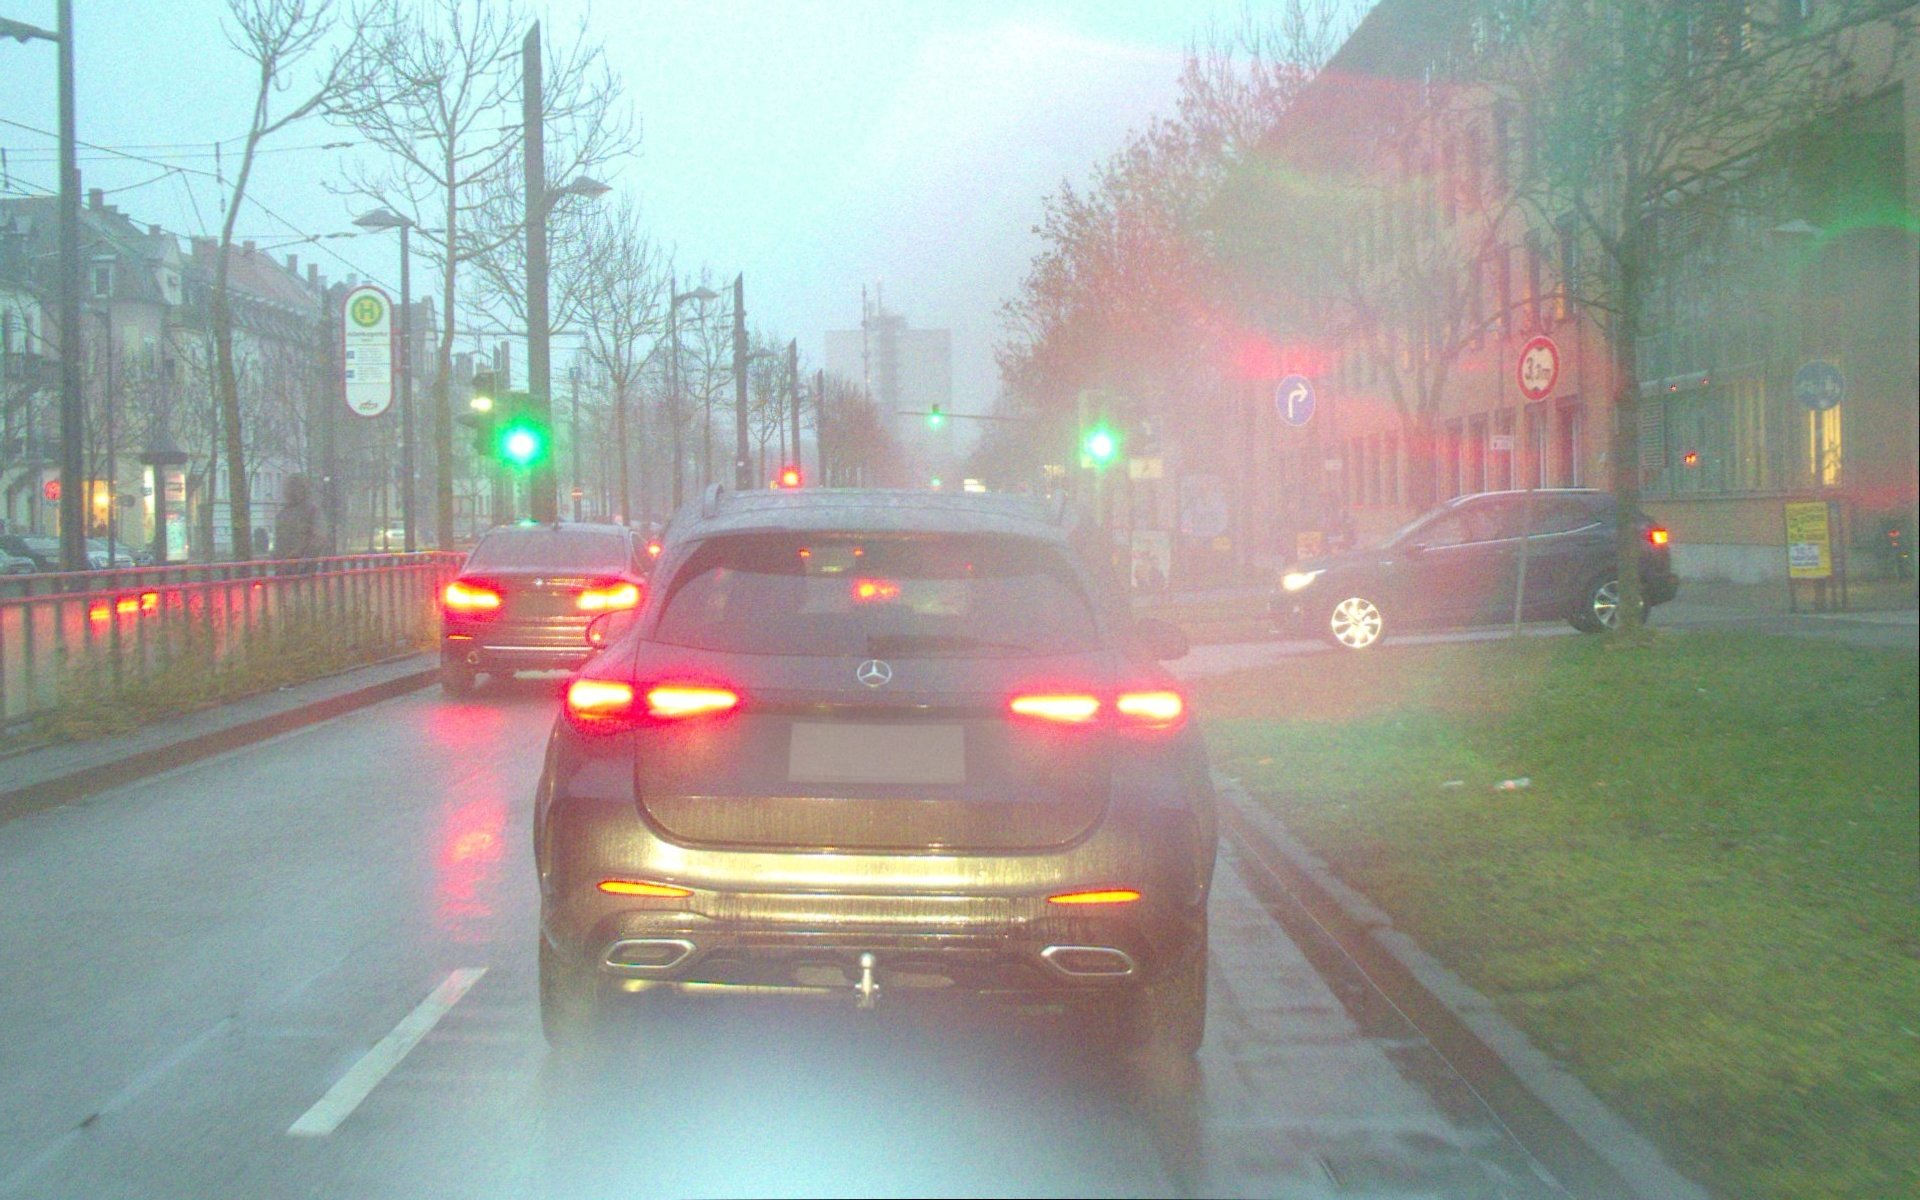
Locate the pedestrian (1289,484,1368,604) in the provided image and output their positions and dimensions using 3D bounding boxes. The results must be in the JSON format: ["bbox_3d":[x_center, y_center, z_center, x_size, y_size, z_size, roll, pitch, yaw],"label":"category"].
[{"bbox_3d":[4.970,-0.758,46.358,0.903,1.590,0.501,-1,2,42],"label":"pedestrian"}]

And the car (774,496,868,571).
[{"bbox_3d":[-3.153,-1.539,78.417,1.993,1.612,4.001,-2,2,-1],"label":"car"}]

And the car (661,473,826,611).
[{"bbox_3d":[-2.918,-0.821,47.080,1.993,1.759,4.000,-2,2,0],"label":"car"}]

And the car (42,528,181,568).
[{"bbox_3d":[-28.215,-1.736,114.389,3.988,1.222,2.000,-1,1,7],"label":"car"}]

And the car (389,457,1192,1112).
[{"bbox_3d":[-0.418,0.412,10.701,1.991,1.610,4.000,-1,2,0],"label":"car"}]

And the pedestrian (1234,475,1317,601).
[{"bbox_3d":[4.050,-0.792,44.122,0.903,1.590,0.501,-1,2,42],"label":"pedestrian"}]

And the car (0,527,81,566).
[{"bbox_3d":[-29.780,-1.654,108.142,3.774,1.152,1.649,-2,2,5],"label":"car"}]

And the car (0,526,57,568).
[{"bbox_3d":[-28.761,-1.523,101.329,3.774,1.152,1.649,-2,2,5],"label":"car"}]

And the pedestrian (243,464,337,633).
[{"bbox_3d":[-6.270,-0.486,32.193,0.699,1.547,0.669,-2,1,0],"label":"pedestrian"}]

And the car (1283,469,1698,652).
[{"bbox_3d":[5.305,-0.417,34.750,3.860,1.555,1.765,-4,2,1],"label":"car"}]

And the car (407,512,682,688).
[{"bbox_3d":[-3.597,-0.051,30.415,1.993,1.393,4.001,-2,2,-1],"label":"car"}]

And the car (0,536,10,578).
[{"bbox_3d":[-28.468,-1.130,95.207,3.774,1.152,1.649,-2,2,5],"label":"car"}]

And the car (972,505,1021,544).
[{"bbox_3d":[1.593,-3.297,150.002,1.993,1.593,4.000,-2,1,0],"label":"car"}]
